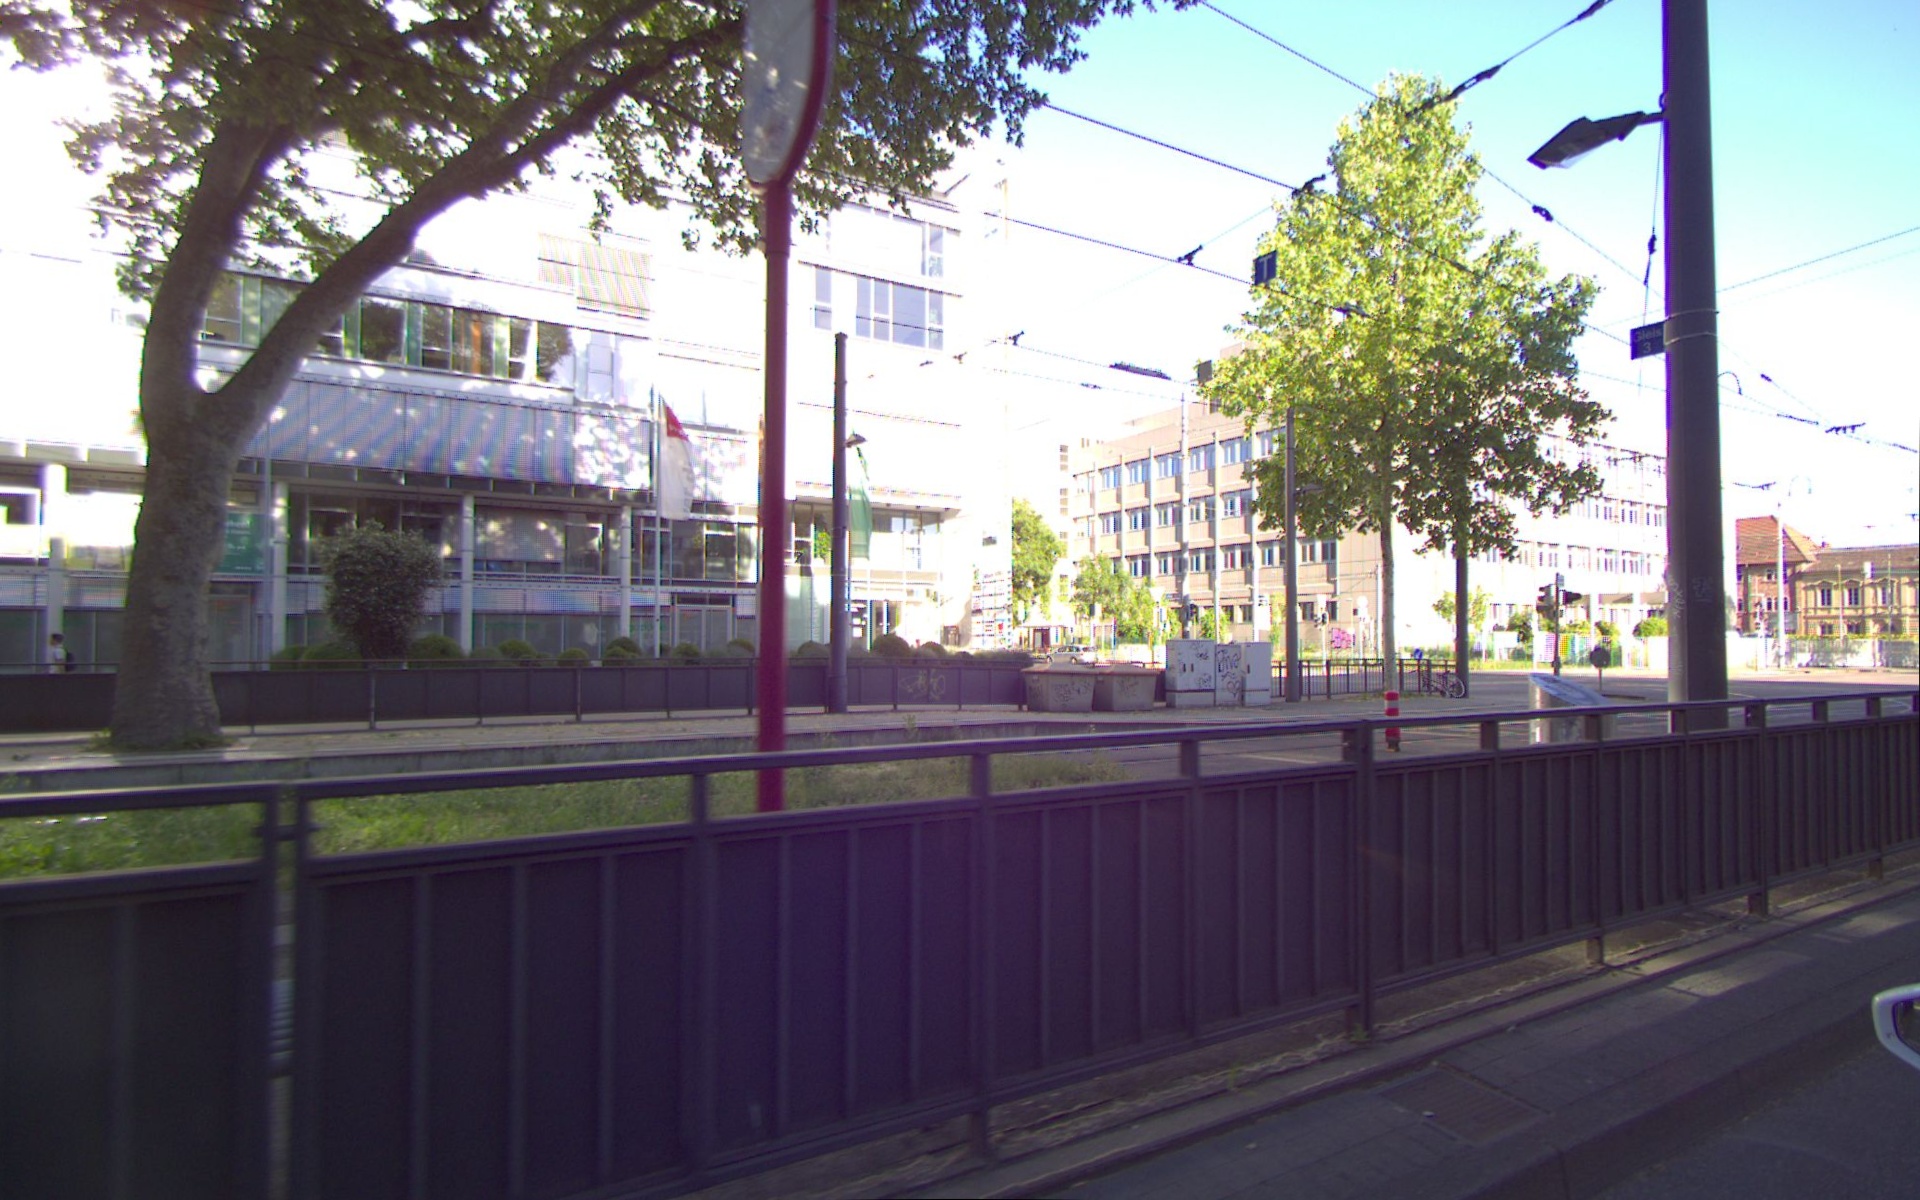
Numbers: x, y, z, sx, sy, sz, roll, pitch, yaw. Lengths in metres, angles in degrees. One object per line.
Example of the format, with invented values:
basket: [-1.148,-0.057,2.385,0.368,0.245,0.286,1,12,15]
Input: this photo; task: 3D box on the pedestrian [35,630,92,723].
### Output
pedestrian: [-19.927,1.685,22.337,0.825,2.002,0.602,1,-1,-33]

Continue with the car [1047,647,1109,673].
car: [8.091,4.080,68.961,2.089,1.719,3.929,2,-3,-37]

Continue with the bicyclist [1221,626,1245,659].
bicyclist: [12.871,1.990,47.351,0.869,1.514,0.719,-1,-2,42]

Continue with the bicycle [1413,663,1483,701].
bicycle: [13.064,2.176,26.903,1.702,0.958,0.810,1,-2,-25]

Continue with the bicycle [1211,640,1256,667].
bicycle: [12.875,2.508,47.334,2.014,1.205,0.587,-1,-2,43]

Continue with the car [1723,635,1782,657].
car: [62.710,3.647,79.454,4.321,1.725,1.987,1,-3,-27]

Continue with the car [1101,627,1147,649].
car: [15.449,3.598,94.632,3.955,2.040,1.983,1,-2,-32]

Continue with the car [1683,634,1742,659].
car: [61.531,3.796,82.083,4.663,2.040,1.987,1,-3,-27]
